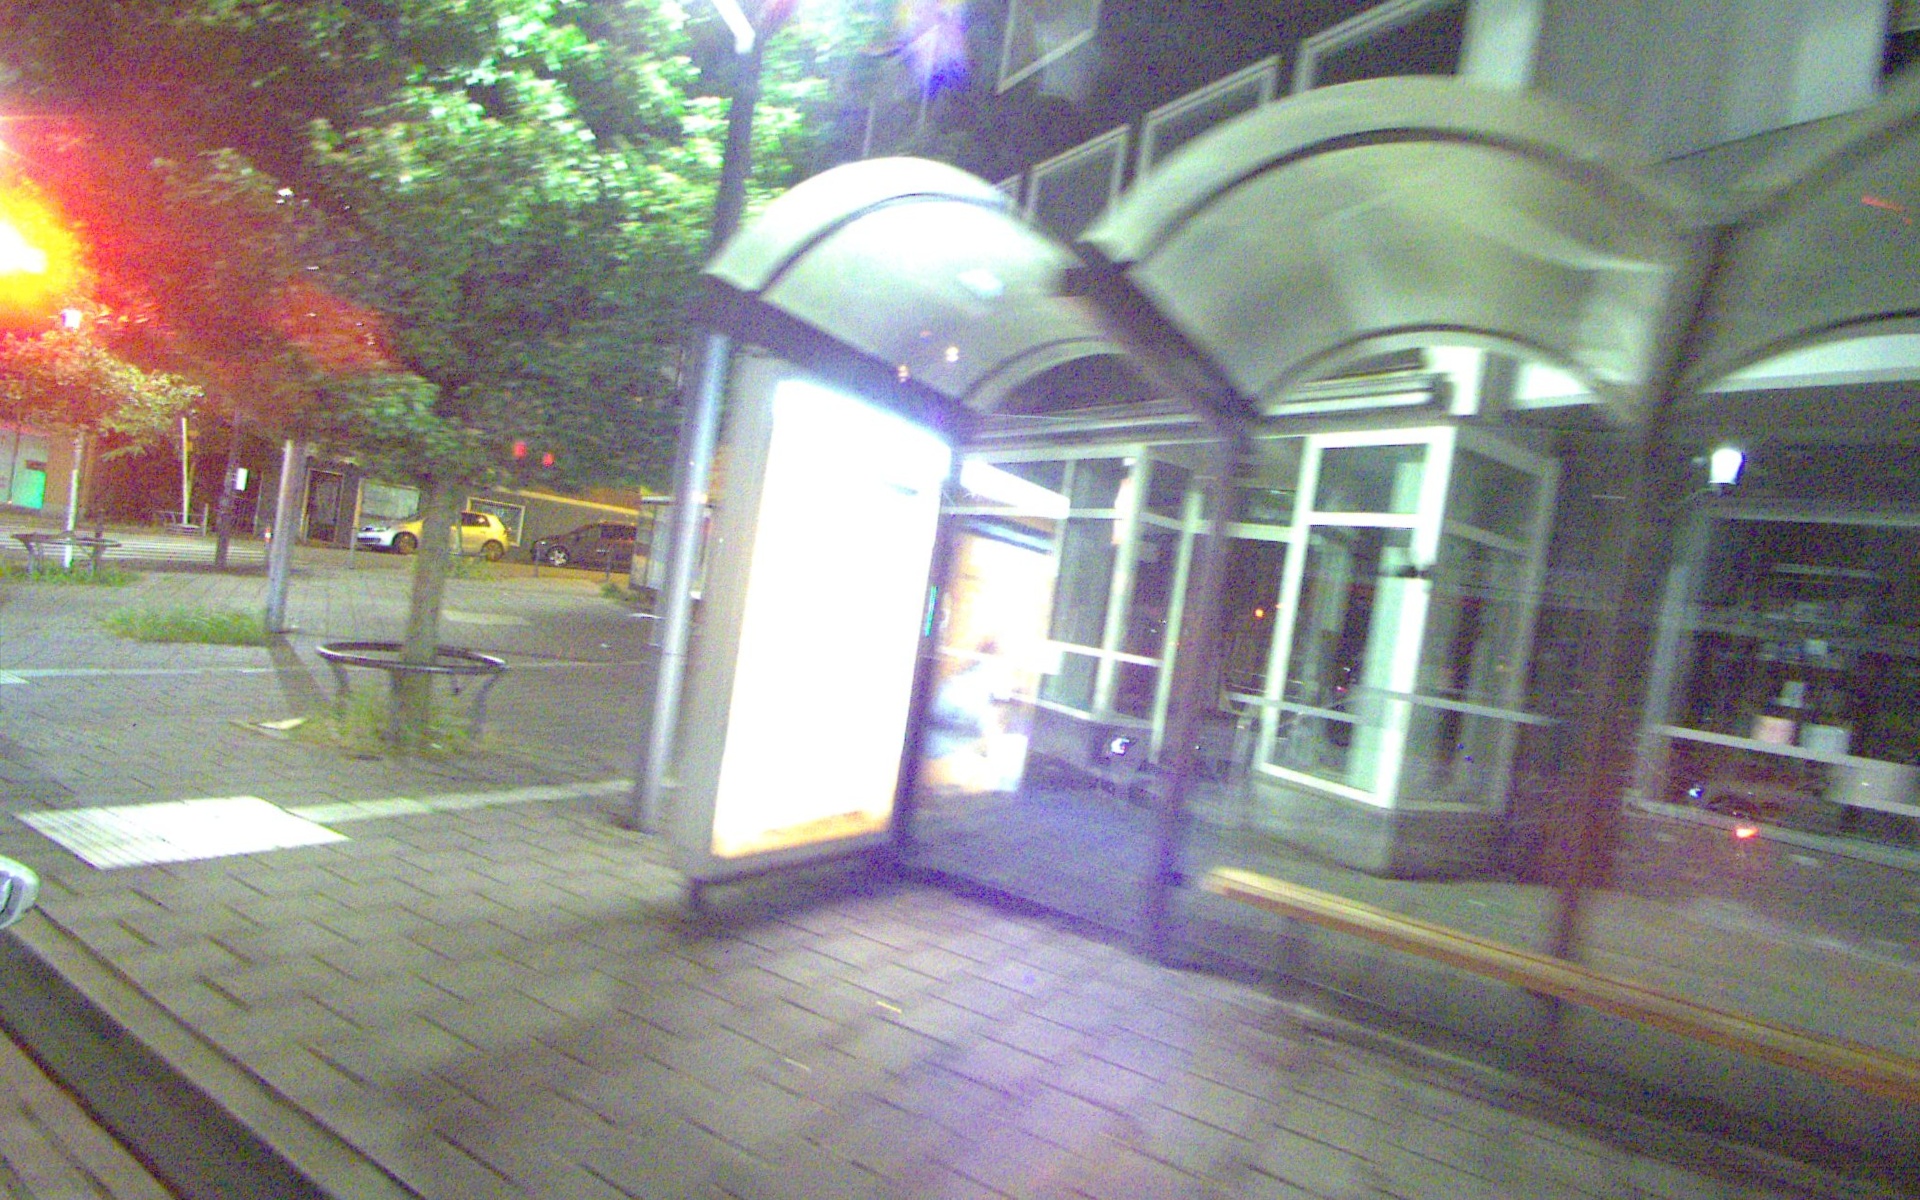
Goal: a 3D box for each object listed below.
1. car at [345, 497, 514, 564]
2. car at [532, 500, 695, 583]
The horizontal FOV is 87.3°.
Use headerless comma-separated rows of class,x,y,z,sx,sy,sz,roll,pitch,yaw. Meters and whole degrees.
car,-15.805,-2.046,30.105,1.798,1.472,4.036,8,2,38
car,-11.455,-1.853,33.277,4.783,1.932,2.148,8,-2,-23
